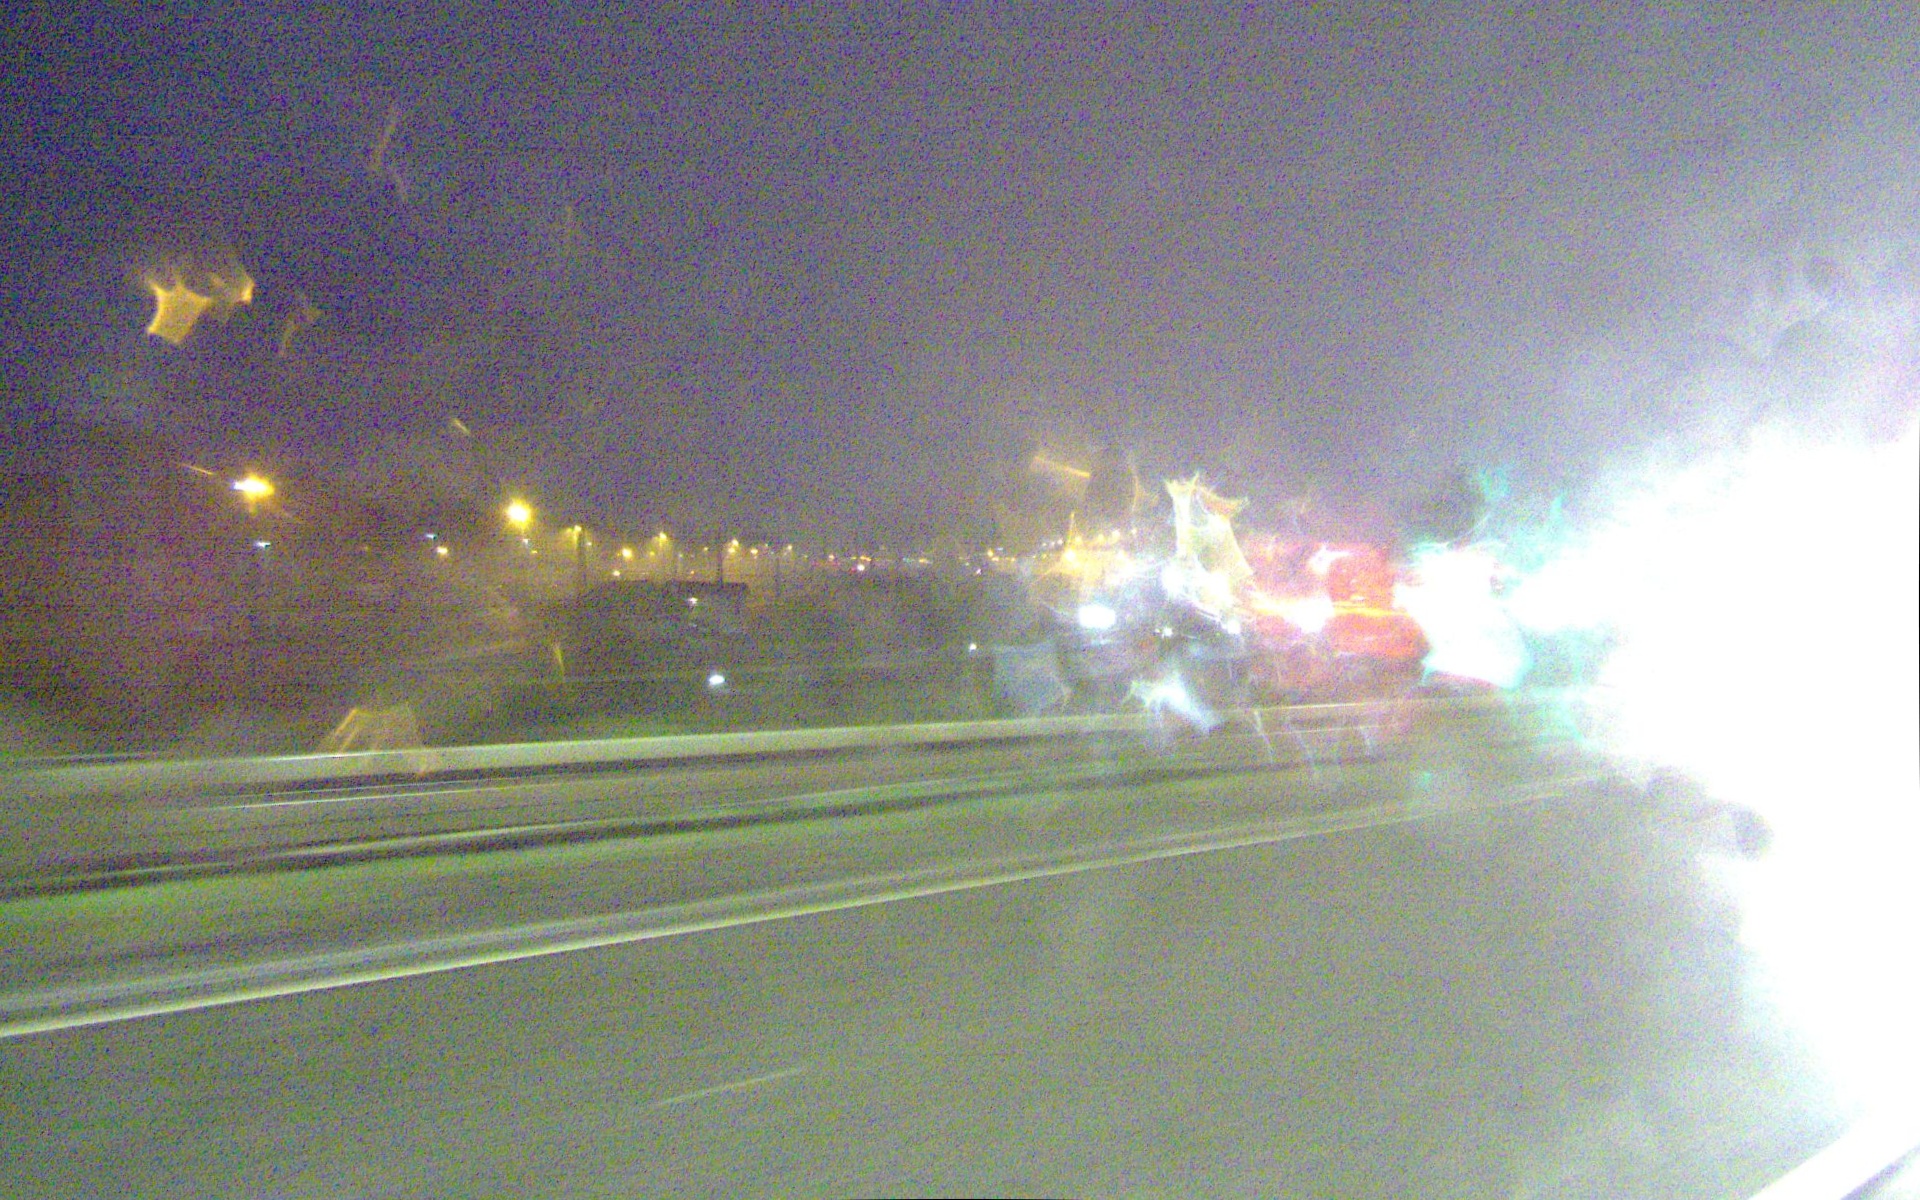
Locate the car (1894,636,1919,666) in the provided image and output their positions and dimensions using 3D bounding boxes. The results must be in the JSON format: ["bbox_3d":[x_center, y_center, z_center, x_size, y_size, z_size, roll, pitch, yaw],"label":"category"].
[{"bbox_3d":[48.517,2.545,50.588,1.706,1.423,3.849,0,-1,36],"label":"car"}]
